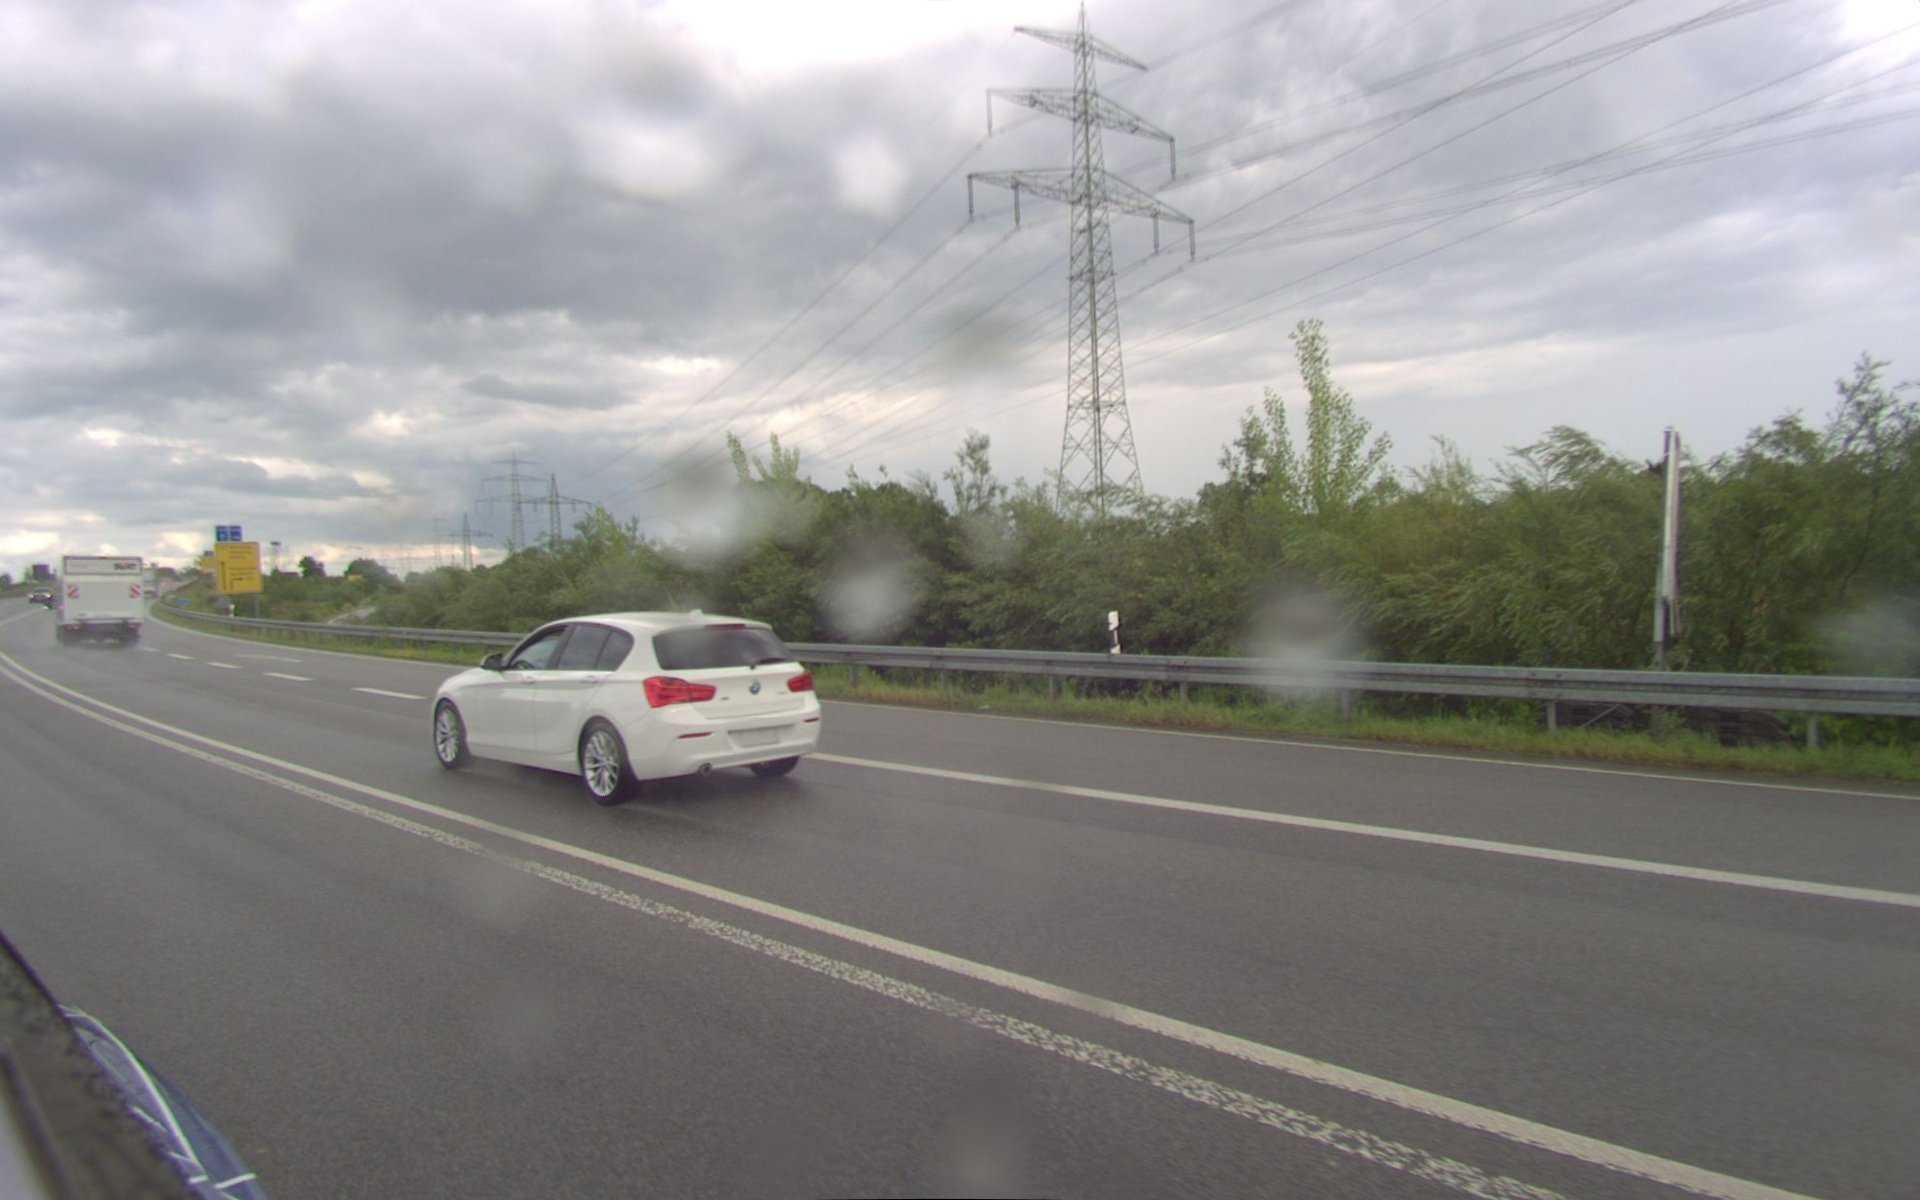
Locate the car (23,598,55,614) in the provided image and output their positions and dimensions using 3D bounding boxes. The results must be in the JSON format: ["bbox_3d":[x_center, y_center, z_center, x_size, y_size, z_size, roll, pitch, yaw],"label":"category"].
[{"bbox_3d":[-90.438,0.584,99.400,1.721,1.508,4.060,-3,1,-35],"label":"car"}]

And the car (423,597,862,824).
[{"bbox_3d":[-2.850,0.735,8.600,4.072,1.468,1.662,-1,0,41],"label":"car"}]

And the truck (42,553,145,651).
[{"bbox_3d":[-30.665,0.079,35.725,6.693,3.180,2.230,0,-1,45],"label":"truck"}]
